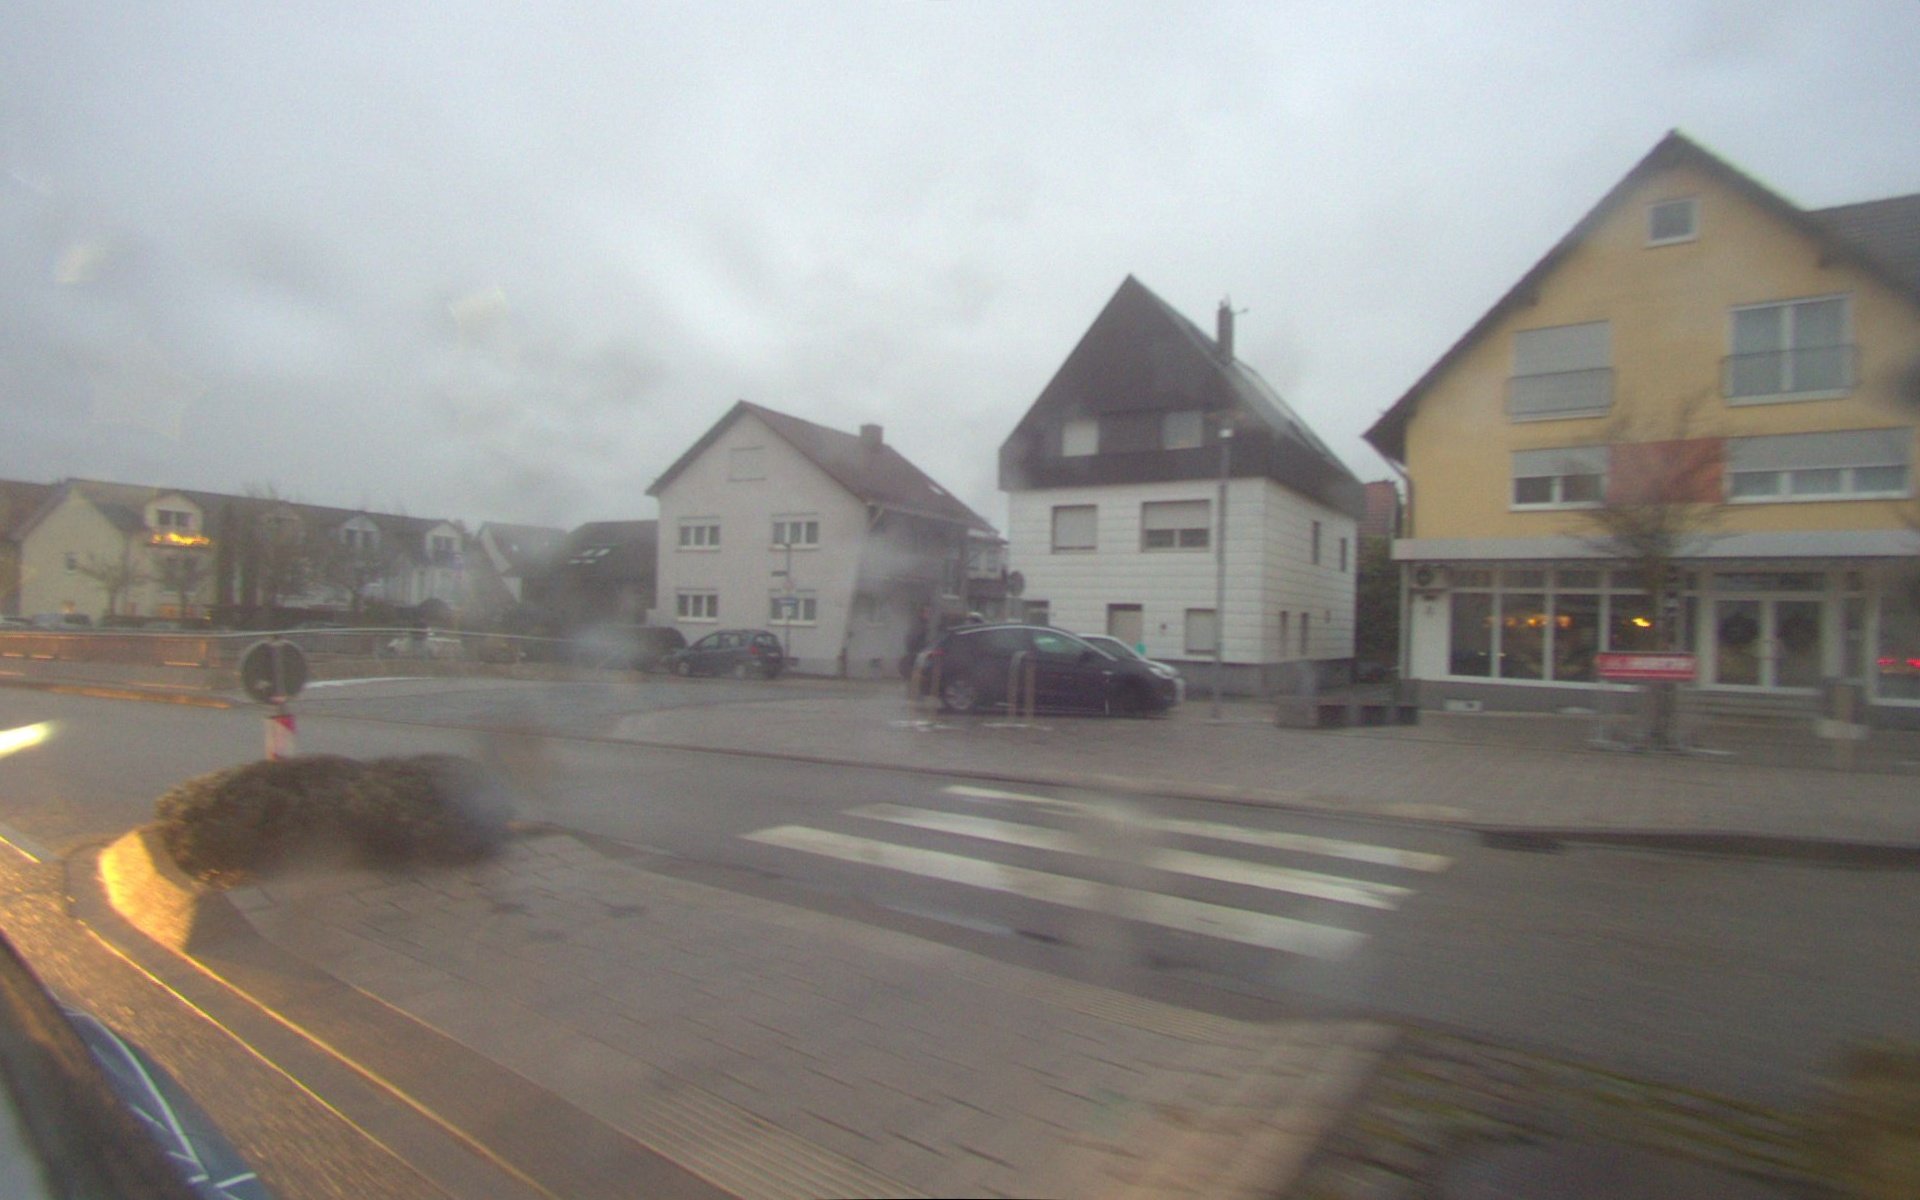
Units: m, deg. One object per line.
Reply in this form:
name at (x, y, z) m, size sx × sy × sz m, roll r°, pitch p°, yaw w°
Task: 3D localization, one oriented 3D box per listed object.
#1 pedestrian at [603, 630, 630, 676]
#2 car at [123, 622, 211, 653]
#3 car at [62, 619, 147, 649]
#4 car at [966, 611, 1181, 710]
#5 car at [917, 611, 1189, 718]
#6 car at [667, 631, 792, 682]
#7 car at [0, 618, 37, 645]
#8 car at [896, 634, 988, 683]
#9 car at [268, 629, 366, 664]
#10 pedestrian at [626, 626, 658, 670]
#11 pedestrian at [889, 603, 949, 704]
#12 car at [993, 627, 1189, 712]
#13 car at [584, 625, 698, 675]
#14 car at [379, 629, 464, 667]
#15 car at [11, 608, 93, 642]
pedestrian at (-9.860, 1.522, 29.088) m, size 0.594 × 1.312 × 0.511 m, roll 0°, pitch -2°, yaw -1°
car at (-41.153, 1.943, 52.497) m, size 4.231 × 1.480 × 1.786 m, roll 0°, pitch -2°, yaw 24°
car at (-46.074, 1.821, 54.499) m, size 4.231 × 1.480 × 1.786 m, roll 0°, pitch -2°, yaw 24°
car at (2.083, 1.151, 19.292) m, size 3.845 × 1.683 × 1.839 m, roll 1°, pitch -4°, yaw 2°
car at (1.389, 1.006, 16.372) m, size 4.120 × 1.542 × 1.915 m, roll 1°, pitch -1°, yaw -1°
car at (-7.847, 1.870, 34.357) m, size 4.078 × 1.581 × 1.762 m, roll 0°, pitch -1°, yaw 31°
car at (-55.834, 1.795, 58.669) m, size 3.986 × 1.480 × 1.665 m, roll 0°, pitch -4°, yaw 20°
car at (-0.613, 2.272, 38.855) m, size 1.711 × 1.695 × 3.960 m, roll 2°, pitch -4°, yaw 29°
car at (-29.922, 2.154, 47.065) m, size 4.231 × 1.480 × 1.786 m, roll 0°, pitch -2°, yaw 24°
pedestrian at (-9.415, 1.411, 29.968) m, size 0.601 × 1.259 × 0.685 m, roll -1°, pitch -2°, yaw 32°
pedestrian at (-0.712, 0.941, 17.764) m, size 0.834 × 1.725 × 0.720 m, roll 0°, pitch -4°, yaw 17°
car at (2.748, 1.470, 21.566) m, size 3.951 × 1.644 × 1.761 m, roll 1°, pitch -4°, yaw 7°
car at (-11.605, 1.764, 36.810) m, size 3.941 × 1.673 × 1.688 m, roll 0°, pitch -1°, yaw 28°
car at (-22.968, 2.042, 43.157) m, size 3.486 × 1.520 × 1.465 m, roll 0°, pitch -2°, yaw 27°
car at (-50.642, 1.394, 56.446) m, size 4.230 × 1.841 × 1.786 m, roll 0°, pitch -2°, yaw 23°
